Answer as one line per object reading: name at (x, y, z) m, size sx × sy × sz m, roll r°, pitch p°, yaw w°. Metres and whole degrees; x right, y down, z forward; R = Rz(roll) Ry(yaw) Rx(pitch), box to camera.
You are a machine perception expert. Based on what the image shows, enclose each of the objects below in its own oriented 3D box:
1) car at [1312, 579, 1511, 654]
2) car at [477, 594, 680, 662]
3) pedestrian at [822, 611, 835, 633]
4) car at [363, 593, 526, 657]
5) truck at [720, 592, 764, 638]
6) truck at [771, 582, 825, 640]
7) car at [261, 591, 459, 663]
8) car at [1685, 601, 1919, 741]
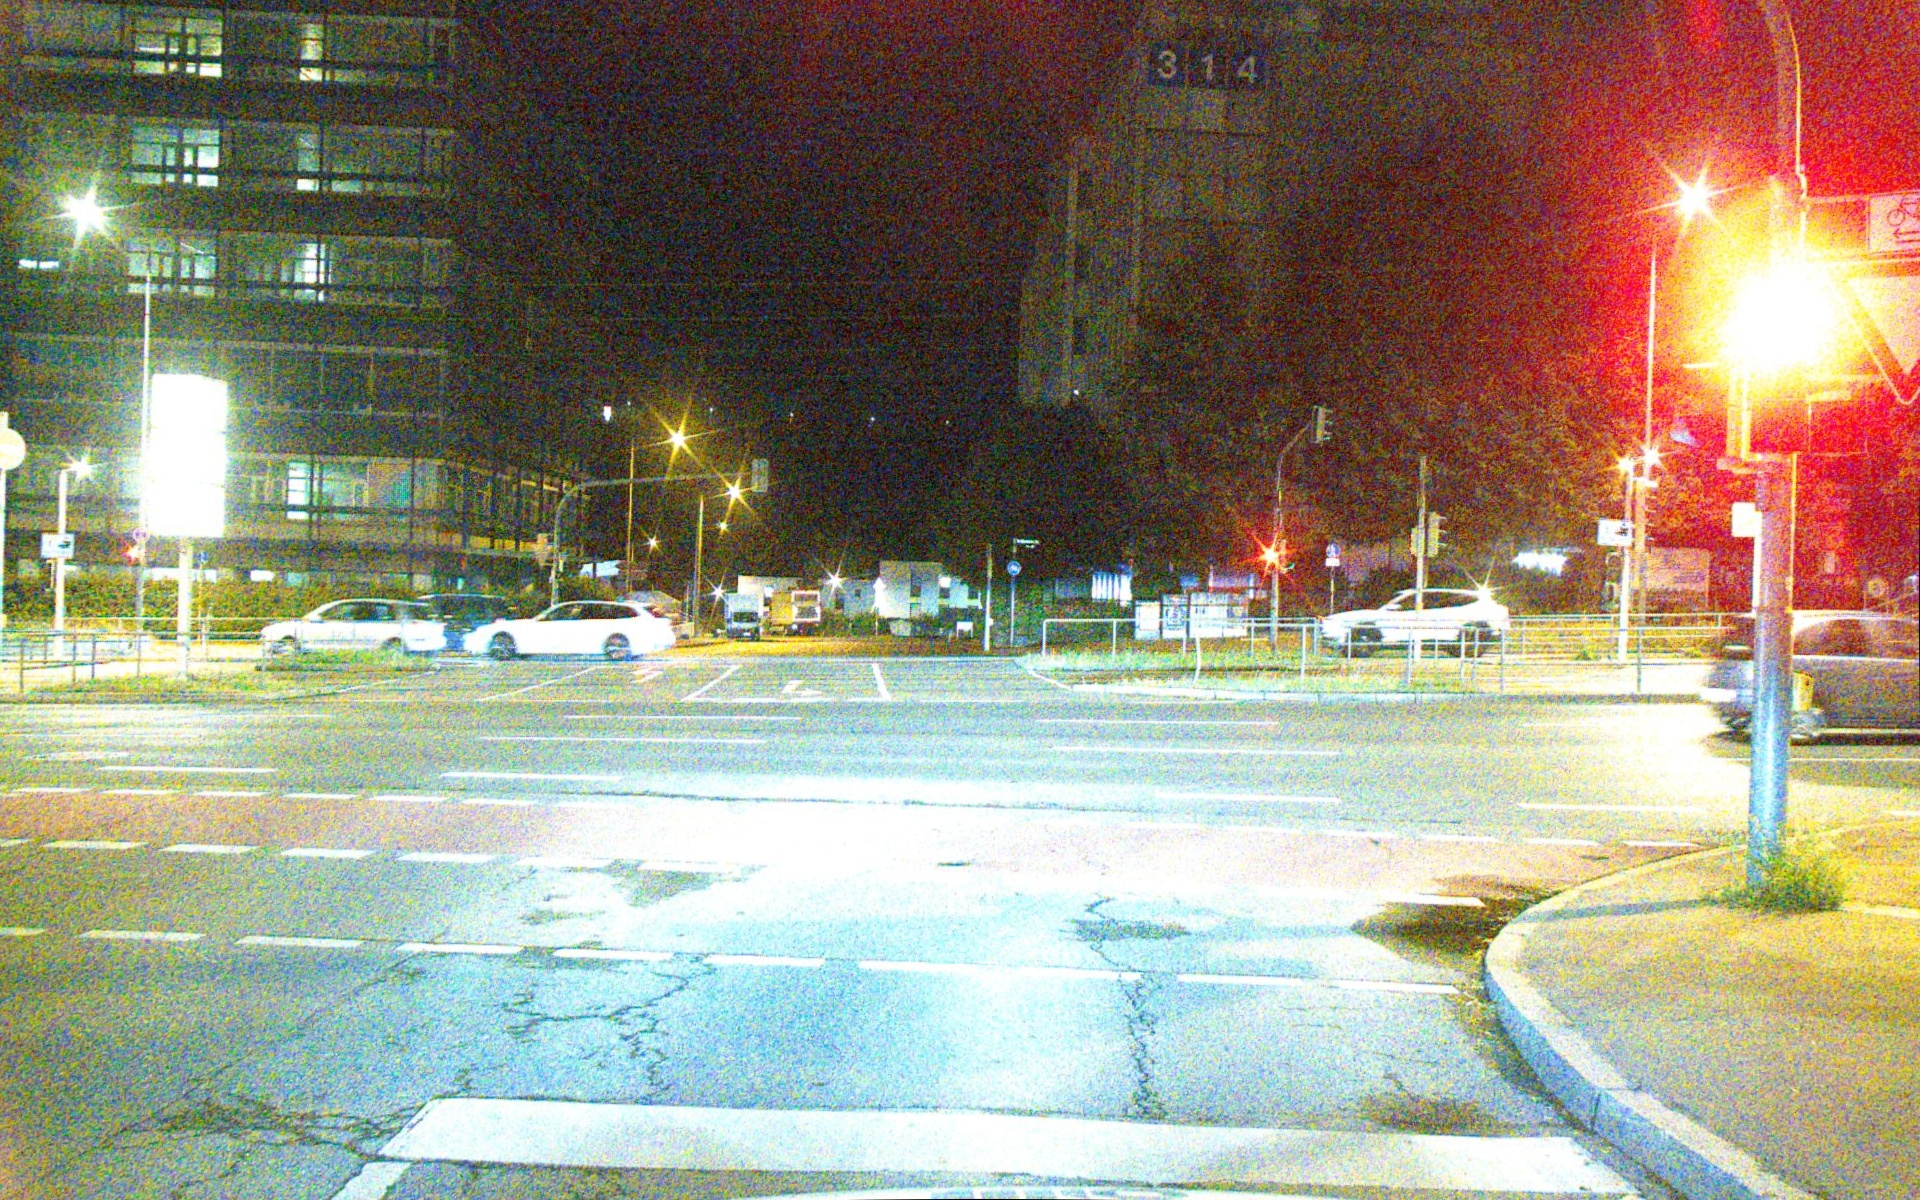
car at (10.879, 0.400, 40.061) m, size 4.306 × 1.672 × 1.942 m, roll 1°, pitch -1°, yaw 2°
car at (-9.274, 0.664, 40.415) m, size 4.479 × 1.512 × 1.779 m, roll 1°, pitch 0°, yaw 2°
pedestrian at (-11.729, 1.929, 147.425) m, size 0.836 × 1.945 × 1.001 m, roll 2°, pitch -1°, yaw -18°
car at (-13.715, 0.650, 44.102) m, size 3.738 × 1.660 × 1.813 m, roll 0°, pitch 0°, yaw 5°
truck at (-15.785, 1.099, 119.446) m, size 2.377 × 3.143 × 6.414 m, roll 2°, pitch -1°, yaw -14°
truck at (-14.619, 1.002, 148.609) m, size 3.307 × 4.927 × 7.868 m, roll 2°, pitch -1°, yaw -17°
car at (-13.643, 0.610, 37.752) m, size 3.755 × 1.512 × 1.869 m, roll 1°, pitch -1°, yaw 2°
car at (10.356, 0.759, 18.671) m, size 3.610 × 1.445 × 1.643 m, roll -1°, pitch 0°, yaw 3°
